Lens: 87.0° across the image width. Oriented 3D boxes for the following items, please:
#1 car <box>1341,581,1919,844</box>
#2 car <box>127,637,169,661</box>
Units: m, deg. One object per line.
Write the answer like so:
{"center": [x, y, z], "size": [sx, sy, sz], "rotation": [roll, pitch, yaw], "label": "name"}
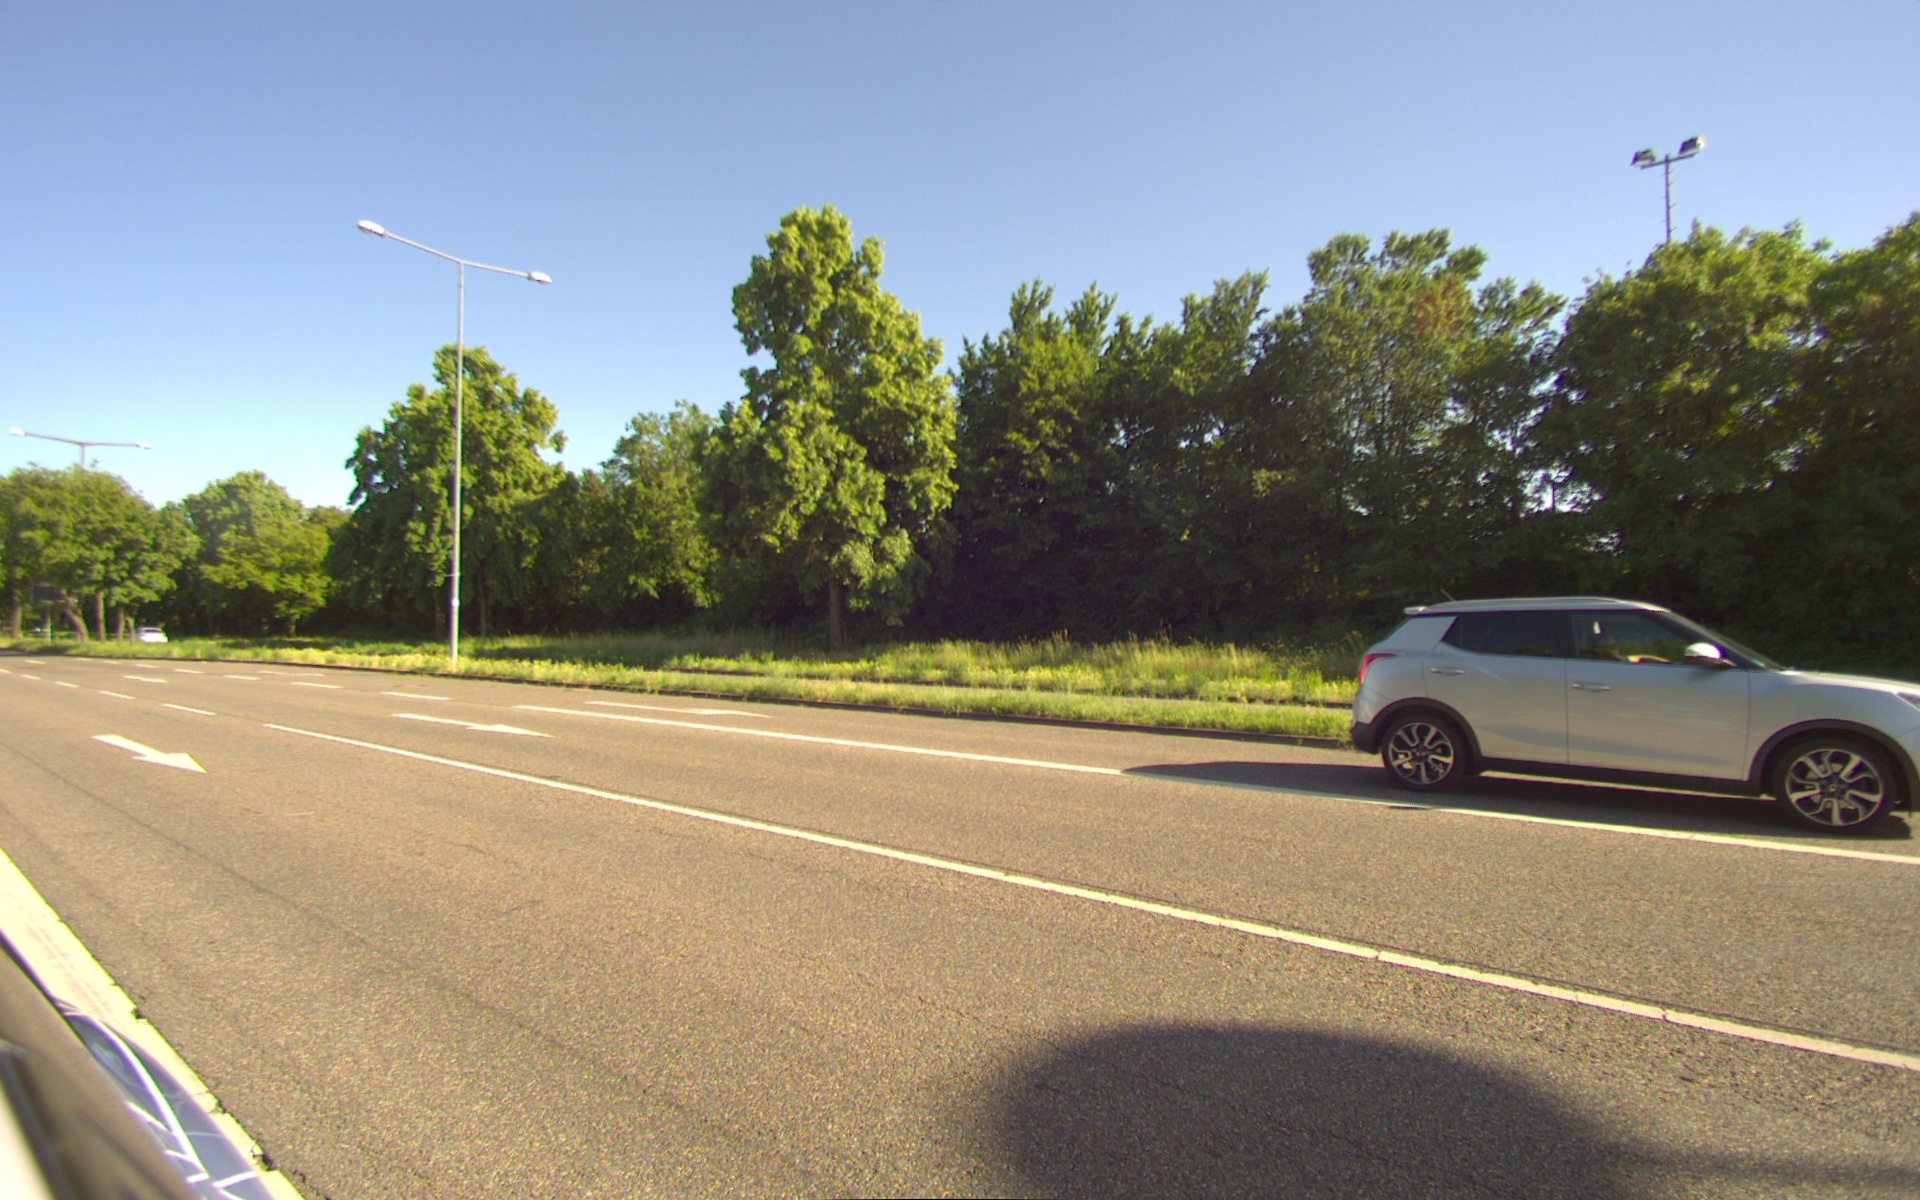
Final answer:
{"center": [5.365, 0.740, 7.921], "size": [4.104, 1.622, 1.766], "rotation": [-1, -2, 41], "label": "car"}
{"center": [-64.366, 3.884, 80.195], "size": [4.406, 1.716, 1.892], "rotation": [0, 0, 42], "label": "car"}
